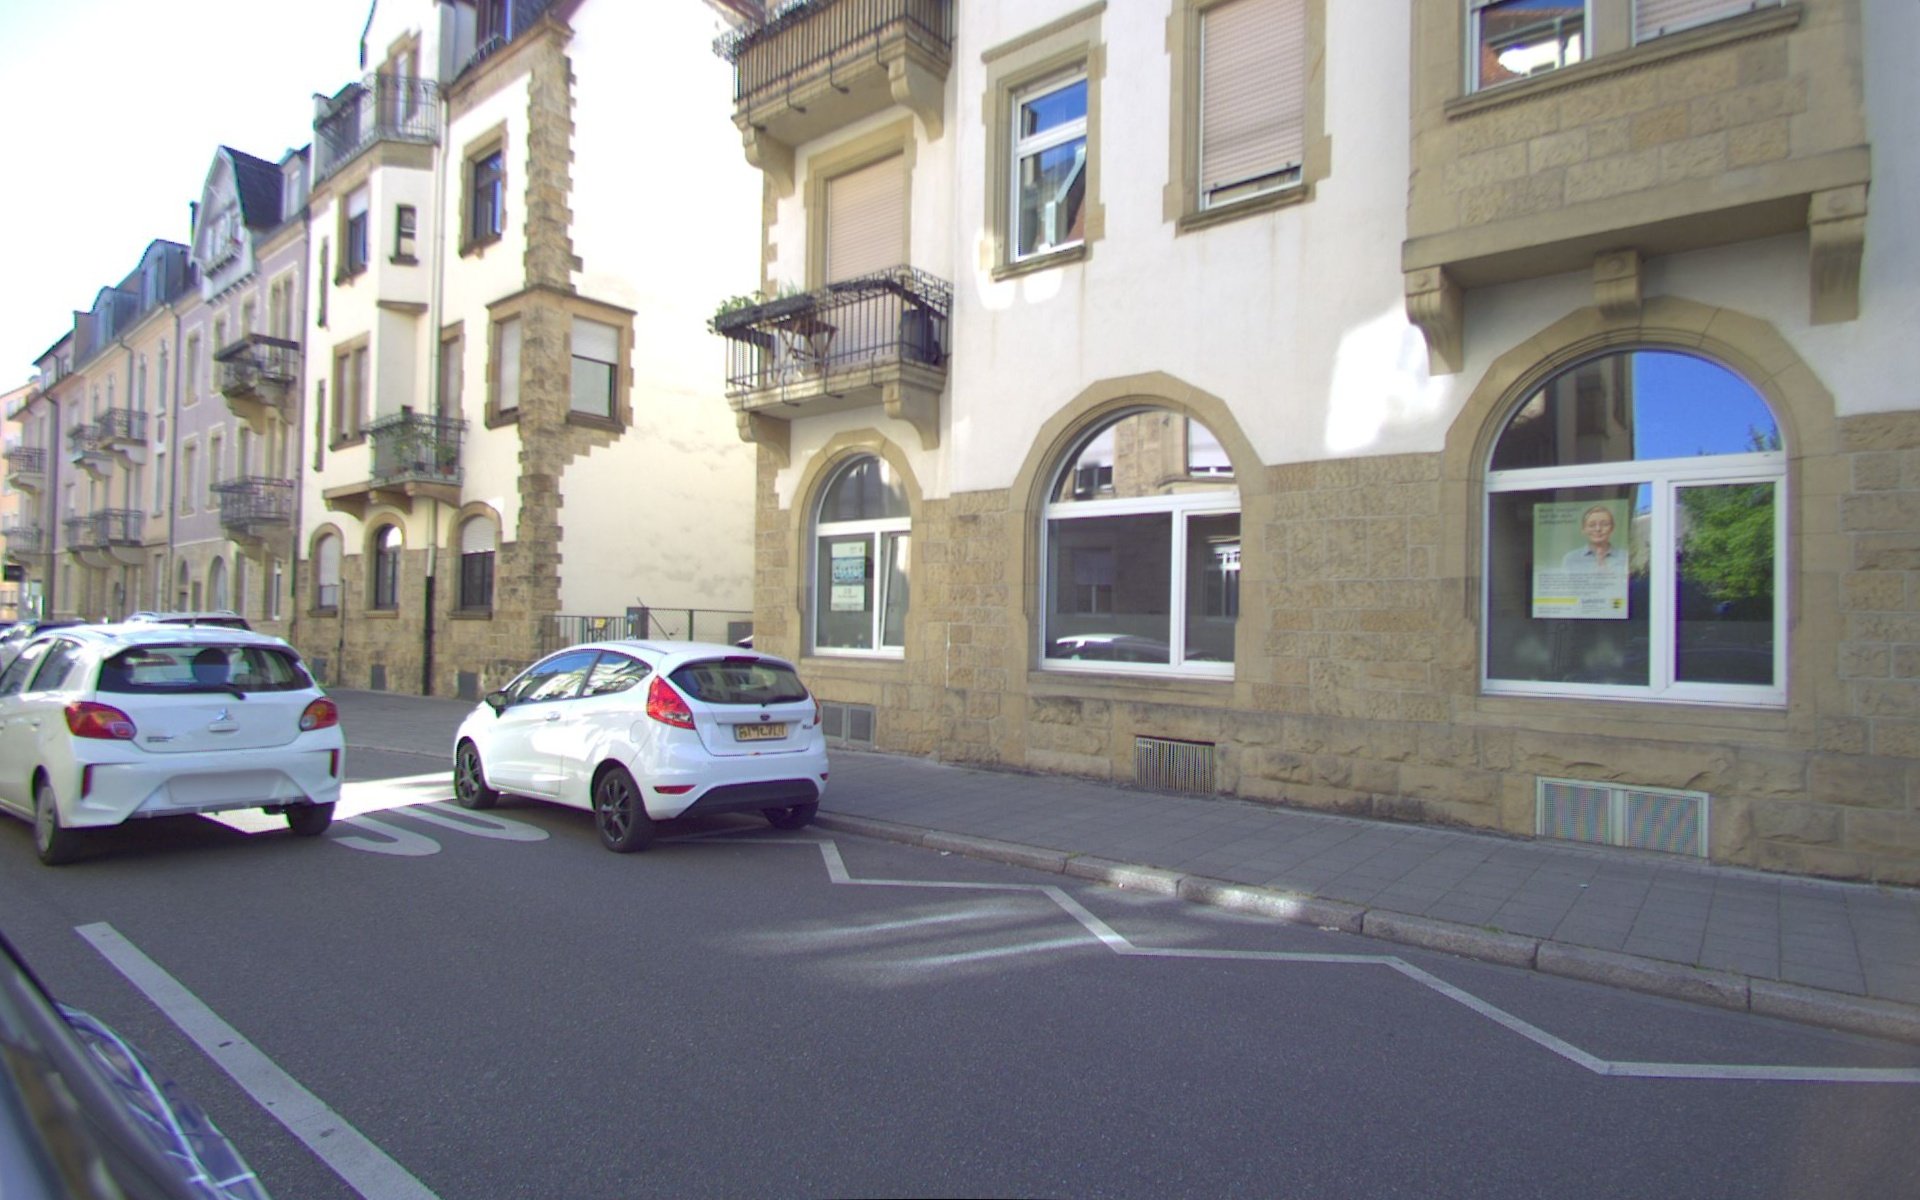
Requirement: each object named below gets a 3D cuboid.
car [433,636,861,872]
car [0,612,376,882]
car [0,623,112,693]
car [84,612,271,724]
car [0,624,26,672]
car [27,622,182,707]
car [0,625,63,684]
[{"bbox_3d":[-2.645,1.048,8.164,3.642,1.469,1.634,-2,-5,42],"label":"car"},{"bbox_3d":[-5.974,0.894,7.378,3.528,1.495,1.682,-1,-4,37],"label":"car"},{"bbox_3d":[-22.946,1.385,25.430,4.319,1.520,1.866,-1,0,41],"label":"car"},{"bbox_3d":[-14.020,1.102,18.055,4.209,1.740,1.866,-1,0,41],"label":"car"},{"bbox_3d":[-33.137,1.608,34.217,4.319,1.520,1.866,-1,0,41],"label":"car"},{"bbox_3d":[-18.442,1.292,21.748,4.319,1.519,1.866,-1,2,41],"label":"car"},{"bbox_3d":[-27.154,1.518,28.869,4.317,1.511,1.833,-1,0,41],"label":"car"}]
